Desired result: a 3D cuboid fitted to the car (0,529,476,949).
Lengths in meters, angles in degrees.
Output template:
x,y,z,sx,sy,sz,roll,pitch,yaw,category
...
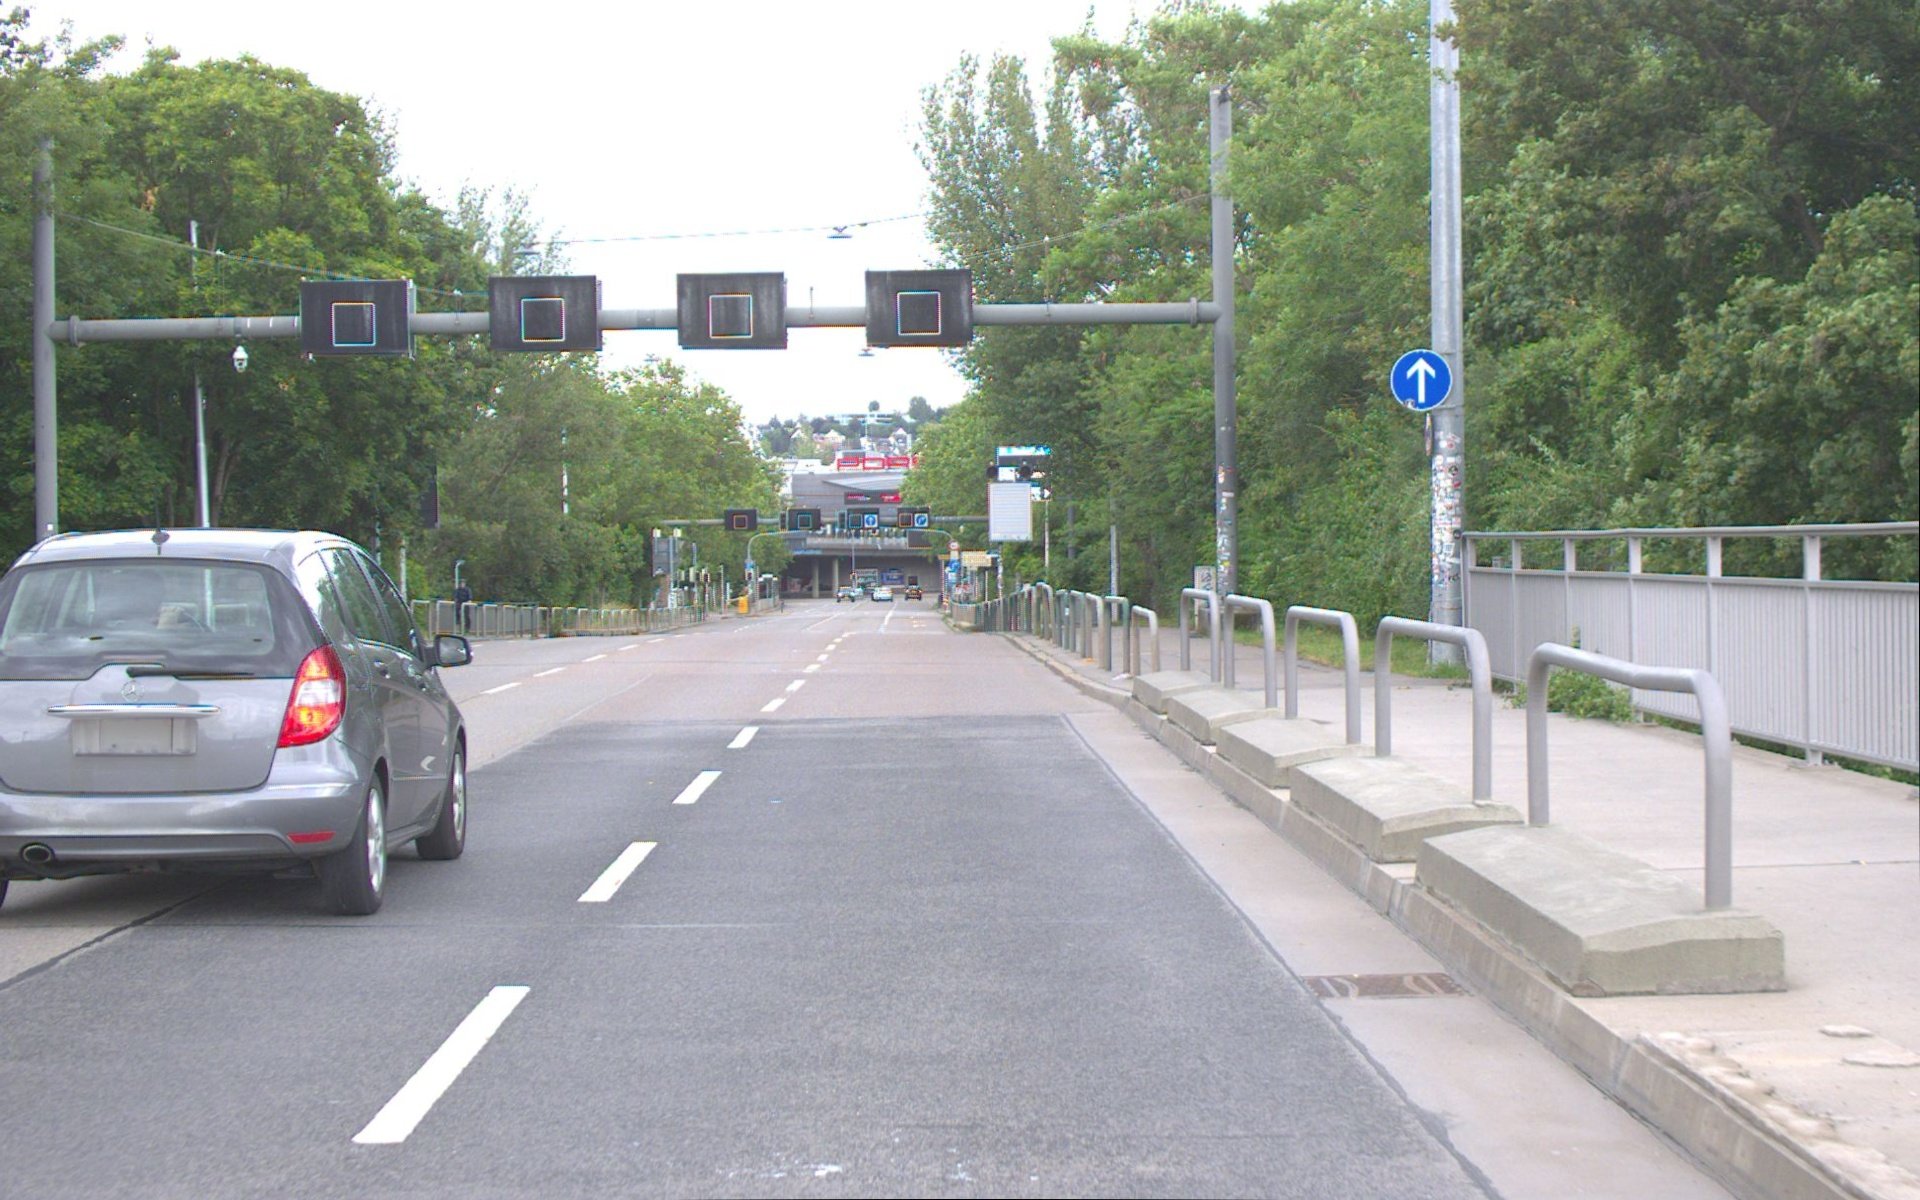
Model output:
x,y,z,sx,sy,sz,roll,pitch,yaw,category
-3.214,0.487,14.942,1.745,1.545,3.872,0,2,-1,car
